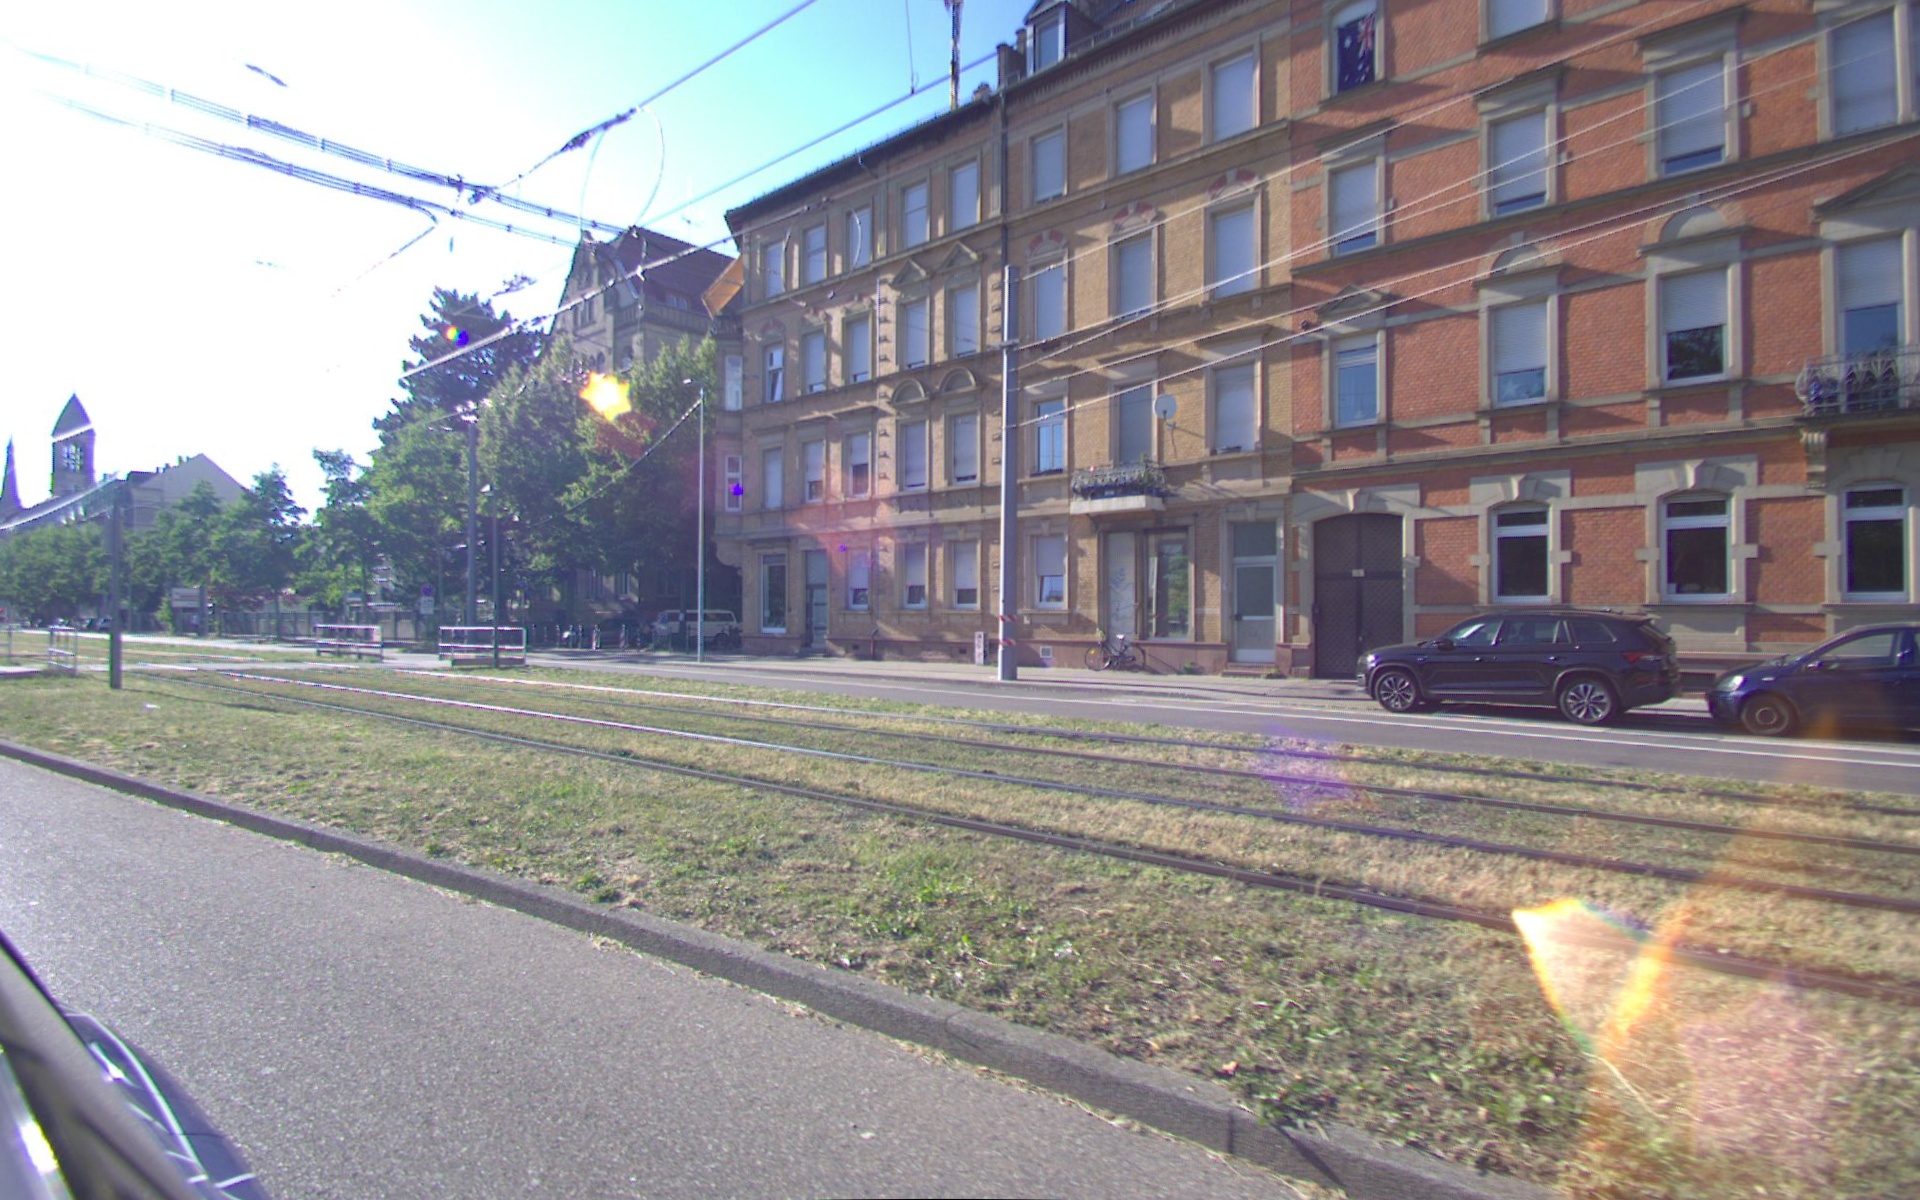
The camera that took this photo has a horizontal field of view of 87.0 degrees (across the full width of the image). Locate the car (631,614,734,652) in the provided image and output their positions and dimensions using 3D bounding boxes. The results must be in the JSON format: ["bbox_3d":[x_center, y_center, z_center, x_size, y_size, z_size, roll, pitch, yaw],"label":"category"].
[{"bbox_3d":[-14.555,1.695,53.086,4.983,1.838,2.029,0,0,-23],"label":"car"}]

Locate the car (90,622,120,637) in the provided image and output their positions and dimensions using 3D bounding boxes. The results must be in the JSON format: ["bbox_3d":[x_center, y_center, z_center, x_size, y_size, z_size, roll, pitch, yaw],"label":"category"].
[{"bbox_3d":[-89.275,3.100,105.660,3.997,1.522,1.776,-1,-3,40],"label":"car"}]

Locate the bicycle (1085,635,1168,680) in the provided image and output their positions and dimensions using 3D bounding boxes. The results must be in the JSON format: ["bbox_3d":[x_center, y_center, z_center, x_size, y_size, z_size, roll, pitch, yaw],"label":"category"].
[{"bbox_3d":[4.108,1.416,25.123,2.009,1.011,0.584,0,1,40],"label":"bicycle"}]

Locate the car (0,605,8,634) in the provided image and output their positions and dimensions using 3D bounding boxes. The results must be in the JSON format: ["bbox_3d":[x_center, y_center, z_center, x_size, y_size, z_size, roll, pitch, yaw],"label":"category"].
[{"bbox_3d":[-94.712,1.923,99.097,3.999,2.803,1.775,-1,-2,42],"label":"car"}]

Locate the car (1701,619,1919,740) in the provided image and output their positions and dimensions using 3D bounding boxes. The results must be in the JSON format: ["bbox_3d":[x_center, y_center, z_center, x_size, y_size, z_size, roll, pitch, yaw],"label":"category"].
[{"bbox_3d":[12.227,1.004,13.383,3.764,1.457,1.642,-1,0,42],"label":"car"}]

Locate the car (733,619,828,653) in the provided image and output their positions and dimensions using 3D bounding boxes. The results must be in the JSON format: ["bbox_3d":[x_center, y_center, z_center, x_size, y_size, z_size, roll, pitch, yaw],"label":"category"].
[{"bbox_3d":[-10.264,2.028,57.936,5.009,1.838,2.019,0,0,7],"label":"car"}]

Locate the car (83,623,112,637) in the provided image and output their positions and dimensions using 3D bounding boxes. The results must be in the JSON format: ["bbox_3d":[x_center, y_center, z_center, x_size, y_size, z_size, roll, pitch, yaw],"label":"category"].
[{"bbox_3d":[-96.524,3.339,113.225,3.997,1.522,1.776,-1,-3,40],"label":"car"}]

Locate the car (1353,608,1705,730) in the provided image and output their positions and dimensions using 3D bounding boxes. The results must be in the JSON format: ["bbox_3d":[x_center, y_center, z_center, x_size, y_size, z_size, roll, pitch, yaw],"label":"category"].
[{"bbox_3d":[8.985,0.999,16.301,4.632,1.655,1.774,-1,0,45],"label":"car"}]

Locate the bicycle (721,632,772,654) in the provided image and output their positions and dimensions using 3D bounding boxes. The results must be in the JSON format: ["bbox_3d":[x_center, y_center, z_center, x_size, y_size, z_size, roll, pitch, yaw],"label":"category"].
[{"bbox_3d":[-9.177,1.844,43.531,2.067,0.916,0.707,-1,0,20],"label":"bicycle"}]

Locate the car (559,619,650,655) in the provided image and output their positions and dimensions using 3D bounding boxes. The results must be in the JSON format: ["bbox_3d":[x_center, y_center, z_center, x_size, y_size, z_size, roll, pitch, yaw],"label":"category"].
[{"bbox_3d":[-17.012,1.734,48.440,3.931,1.521,1.806,-1,1,-27],"label":"car"}]
